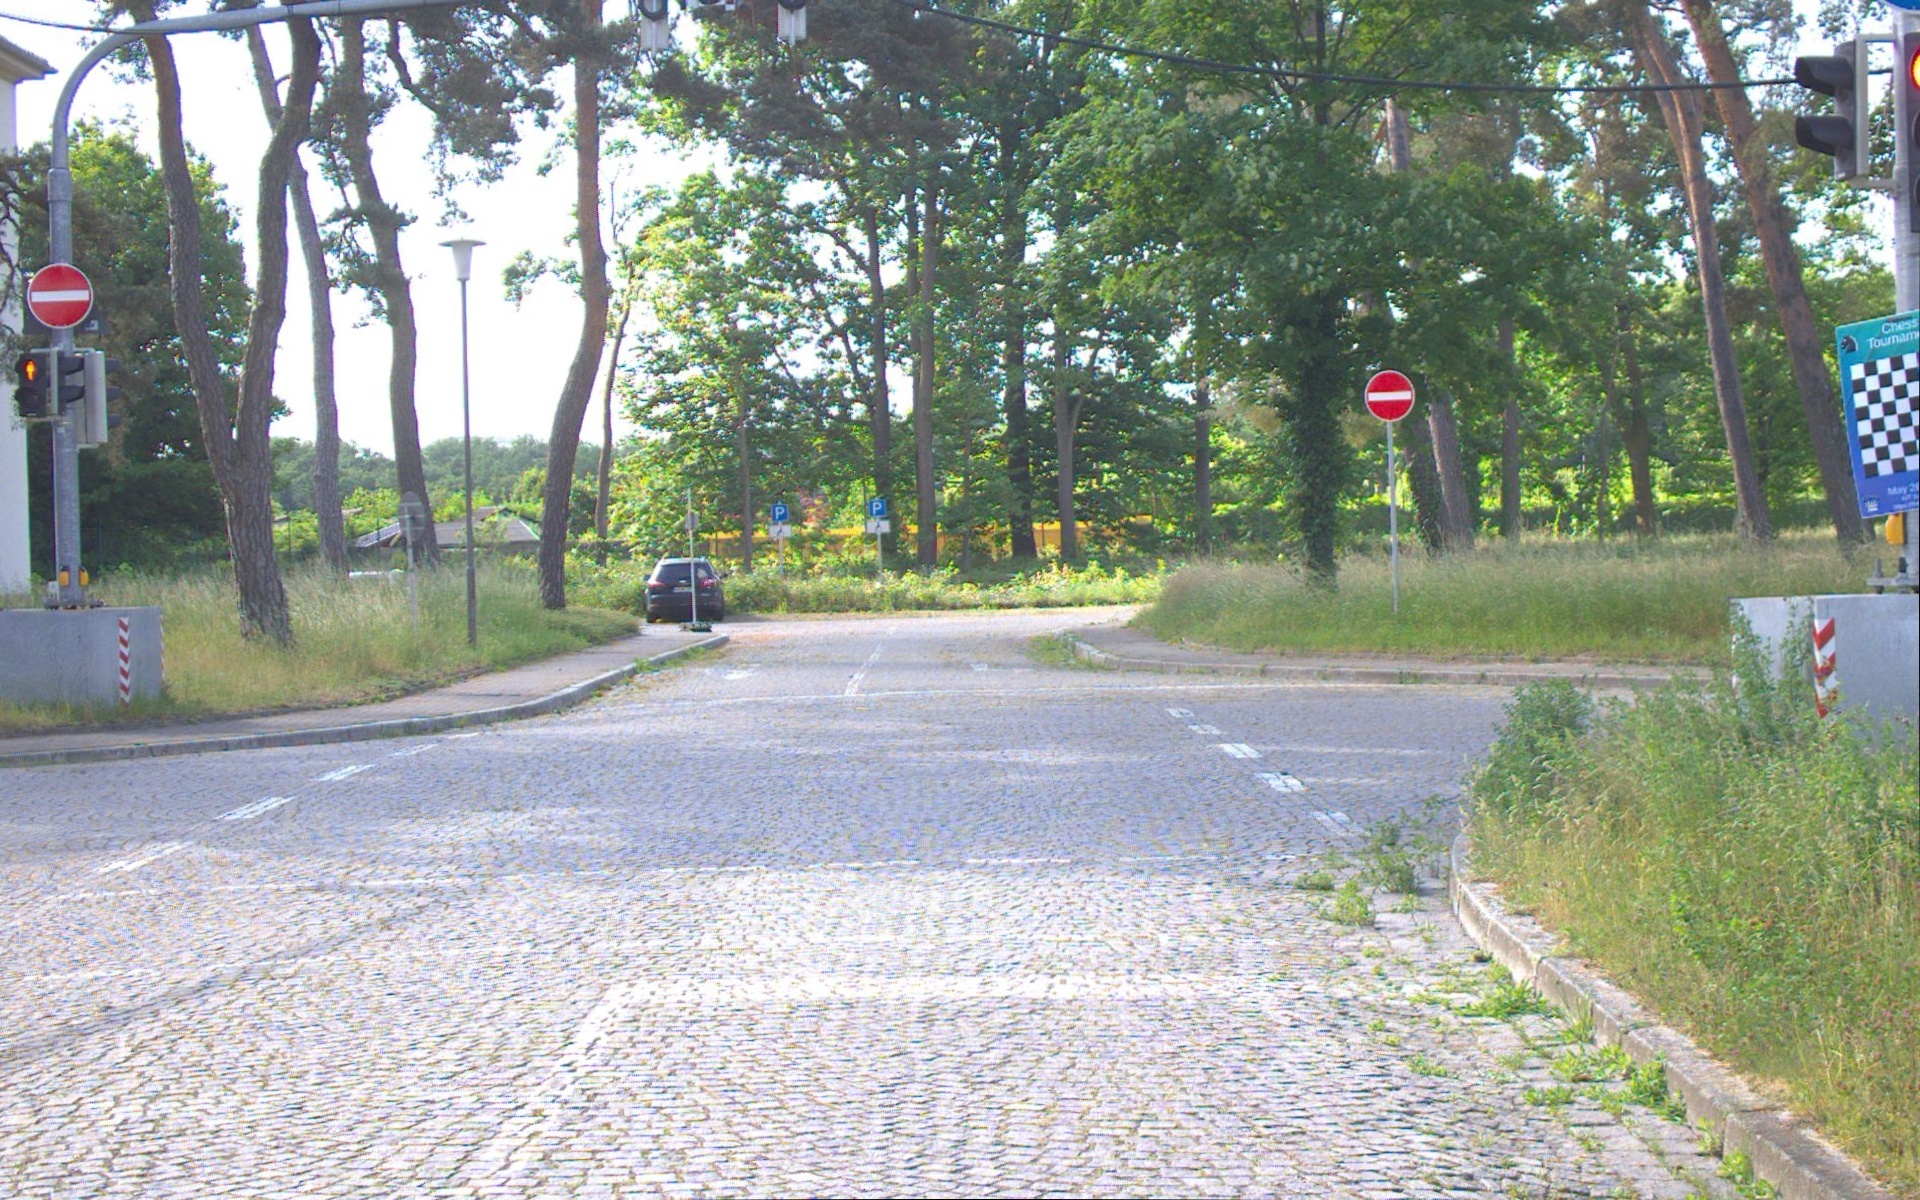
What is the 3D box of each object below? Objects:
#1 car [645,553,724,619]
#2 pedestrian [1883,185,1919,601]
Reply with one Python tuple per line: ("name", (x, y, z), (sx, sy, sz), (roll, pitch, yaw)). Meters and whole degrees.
("car", (-6.618, -0.358, 82.795), (1.709, 1.491, 3.919), (-2, 1, -3))
("pedestrian", (4.795, -0.924, 15.064), (1.170, 1.790, 1.061), (-2, 1, 29))
